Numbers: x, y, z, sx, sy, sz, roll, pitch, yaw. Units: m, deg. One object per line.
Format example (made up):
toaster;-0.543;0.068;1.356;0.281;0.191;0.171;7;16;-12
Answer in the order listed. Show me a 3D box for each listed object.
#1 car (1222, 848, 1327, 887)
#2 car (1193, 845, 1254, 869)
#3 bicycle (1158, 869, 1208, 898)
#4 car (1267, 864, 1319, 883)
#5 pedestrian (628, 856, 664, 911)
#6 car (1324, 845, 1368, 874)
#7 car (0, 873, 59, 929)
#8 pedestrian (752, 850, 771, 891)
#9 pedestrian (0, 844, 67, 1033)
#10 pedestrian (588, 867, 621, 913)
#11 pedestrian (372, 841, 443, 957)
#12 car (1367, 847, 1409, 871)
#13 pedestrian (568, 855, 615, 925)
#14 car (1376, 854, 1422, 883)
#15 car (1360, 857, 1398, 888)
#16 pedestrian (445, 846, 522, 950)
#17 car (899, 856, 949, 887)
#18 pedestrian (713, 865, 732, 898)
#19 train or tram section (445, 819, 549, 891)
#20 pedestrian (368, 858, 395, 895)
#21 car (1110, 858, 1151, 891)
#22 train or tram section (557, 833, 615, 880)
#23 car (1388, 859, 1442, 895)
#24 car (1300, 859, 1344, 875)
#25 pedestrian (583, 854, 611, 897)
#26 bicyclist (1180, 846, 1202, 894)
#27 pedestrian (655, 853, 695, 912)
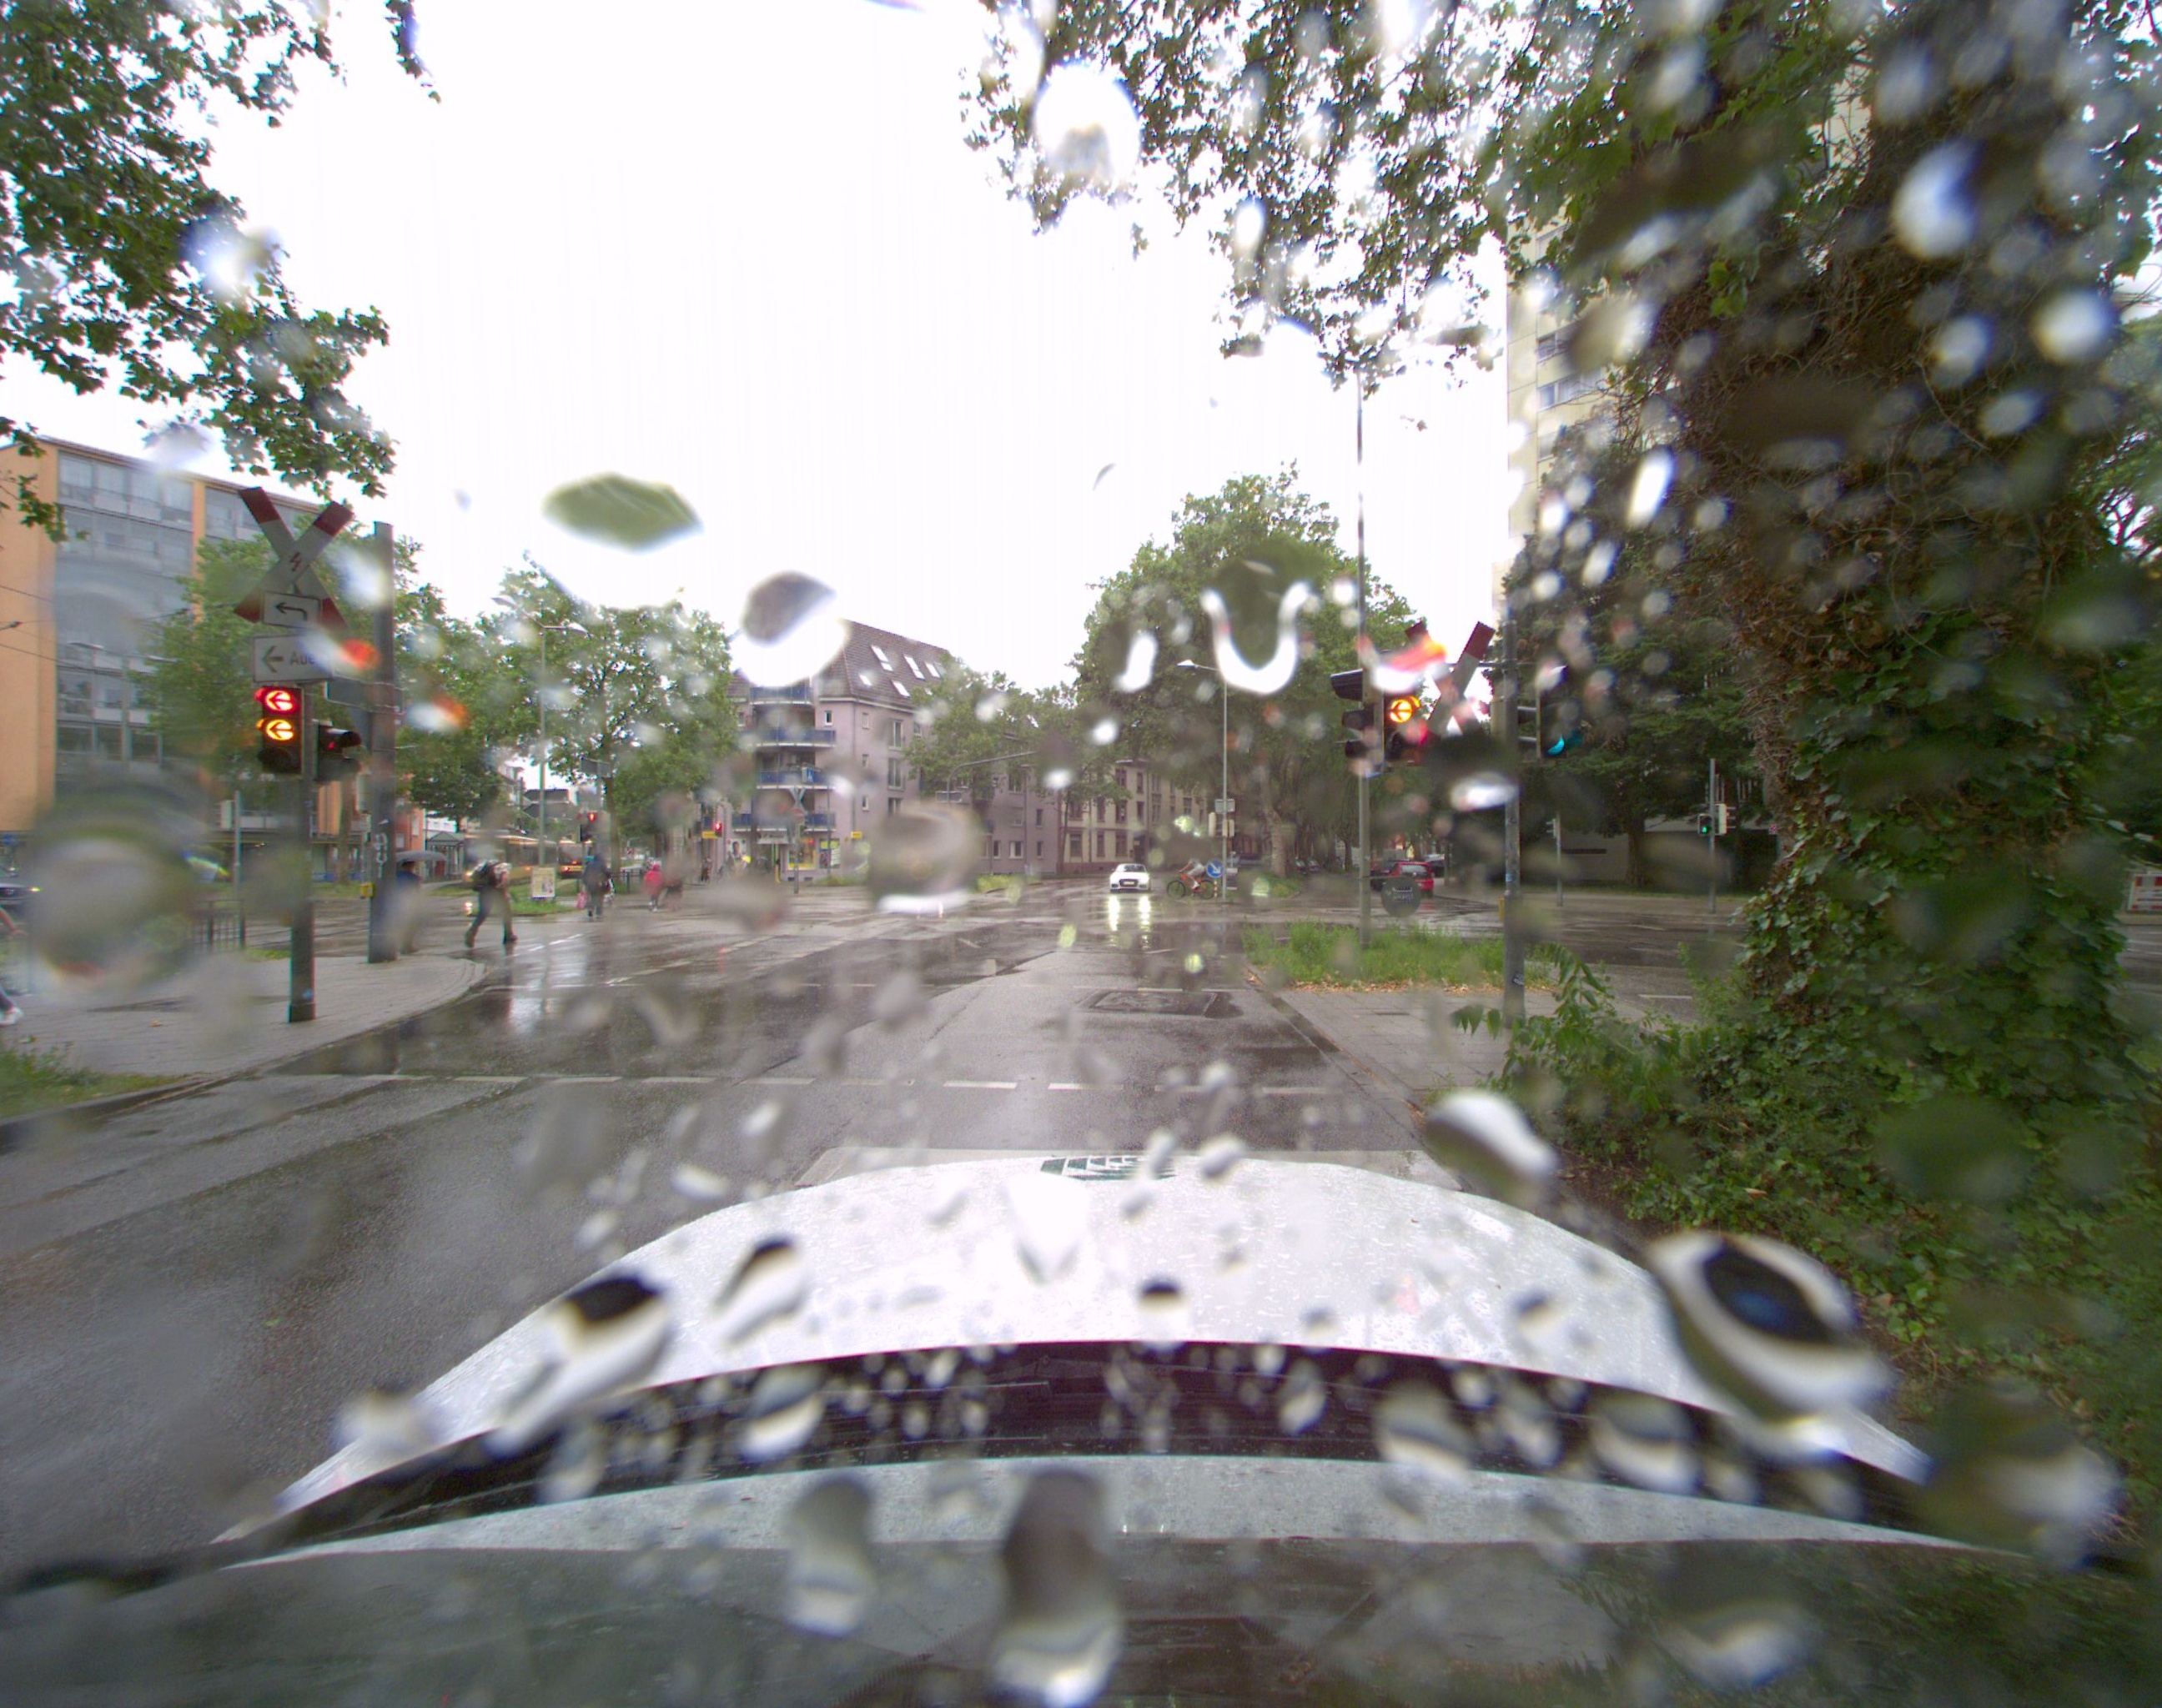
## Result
car;7.759;0.546;32.667;3.958;1.486;2.008;-1;-1;14
car;9.379;0.208;53.603;3.838;1.486;1.723;-1;-1;14
bicycle;3.880;1.119;31.009;1.862;1.081;0.658;-1;-1;9
car;16.949;1.536;65.178;3.958;1.486;2.008;-1;-1;14
pedestrian;-12.297;0.829;23.037;0.681;1.520;0.658;-1;0;-6
car;28.327;0.595;87.222;2.040;2.948;4.742;0;-1;-18
car;-32.215;1.334;23.587;3.994;1.530;1.615;0;1;12
pedestrian;-14.717;0.760;37.530;0.791;1.855;0.676;0;0;-22
pedestrian;-10.311;0.775;7.637;0.684;1.729;0.752;0;0;-16
pedestrian;-14.287;1.057;24.432;0.657;1.349;0.706;0;0;-12
pedestrian;-11.385;0.723;13.758;0.876;1.864;0.881;0;0;-43
car;38.993;0.648;103.573;2.006;2.948;4.726;0;-1;-29
pedestrian;-12.593;0.899;20.937;0.844;1.698;0.680;-4;3;-42
car;15.900;0.701;40.875;1.770;1.348;3.945;0;1;16
car;17.331;1.069;47.430;1.769;1.727;4.017;-1;-1;16
pedestrian;-10.509;0.748;14.350;0.867;1.755;0.826;0;0;-18
car;-8.001;0.864;41.845;1.745;1.512;3.839;0;0;1
pedestrian;-15.822;1.204;35.970;0.653;1.396;0.774;0;0;-33
train or tram section;-36.284;0.146;51.341;2.897;3.768;17.089;0;-1;-28
pedestrian;-34.073;1.066;39.661;0.965;1.766;0.941;0;-1;-39
car;2.393;0.943;39.152;1.876;1.436;4.004;0;0;4
train or tram section;-41.701;0.189;69.043;2.875;3.545;15.240;0;0;-26
car;14.832;0.986;36.339;1.778;1.498;4.017;0;0;16
car;23.142;1.262;78.265;3.958;1.547;2.008;-1;-1;14
pedestrian;-20.366;0.899;34.289;0.962;1.766;0.944;0;-1;-28
bicyclist;4.186;0.598;30.967;0.790;1.786;0.699;-1;-1;9
pedestrian;-11.588;0.809;23.284;0.728;1.624;0.816;-1;1;-5
